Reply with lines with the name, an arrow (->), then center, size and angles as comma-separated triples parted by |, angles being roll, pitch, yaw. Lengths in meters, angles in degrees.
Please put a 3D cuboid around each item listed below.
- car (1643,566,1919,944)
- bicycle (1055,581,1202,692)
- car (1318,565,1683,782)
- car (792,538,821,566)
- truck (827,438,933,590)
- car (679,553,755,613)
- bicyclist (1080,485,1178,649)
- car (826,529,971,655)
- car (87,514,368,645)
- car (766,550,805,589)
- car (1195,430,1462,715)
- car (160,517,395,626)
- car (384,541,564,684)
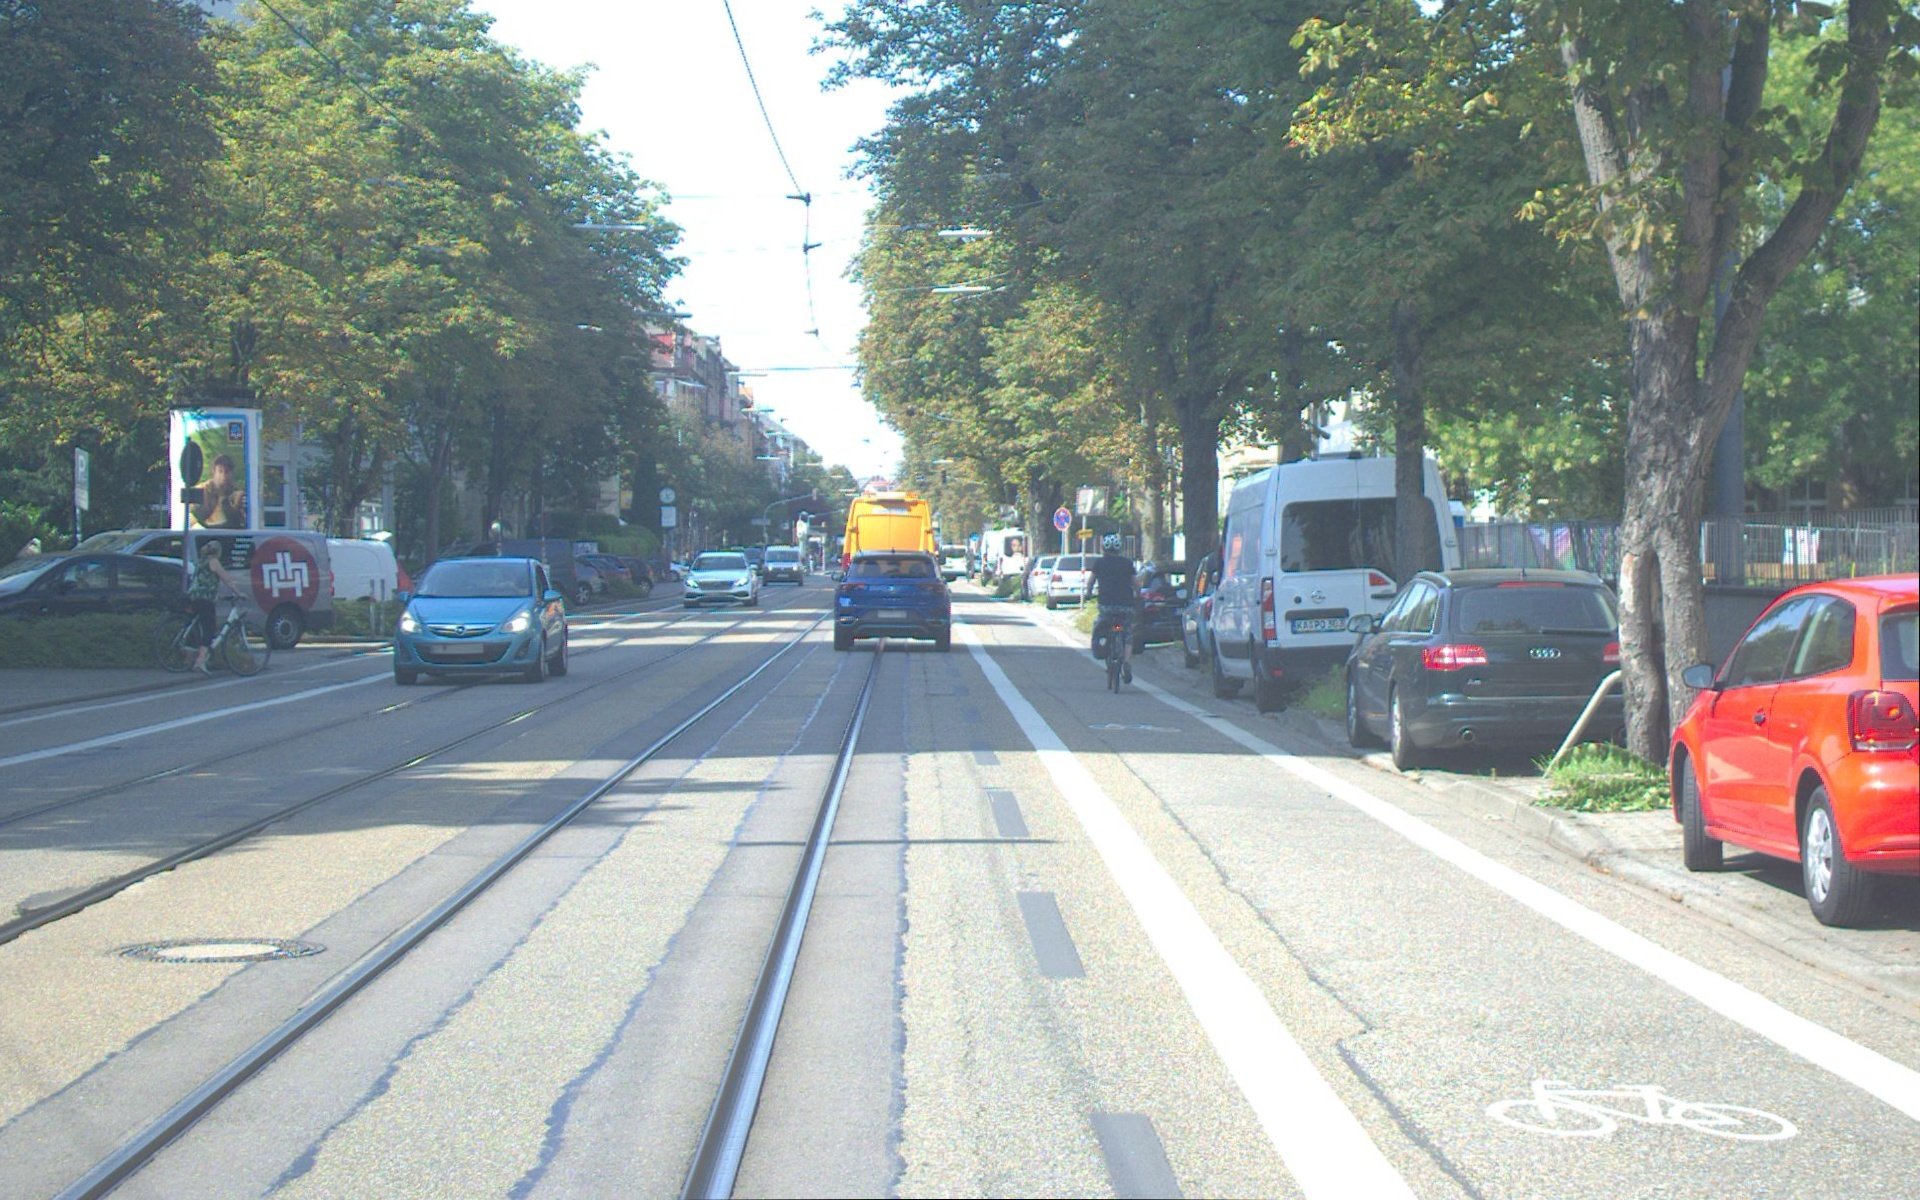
car -> 4.362, 0.600, 15.451 | 1.740, 1.457, 3.684 | 0, 1, -2
bicycle -> 1.853, 0.379, 38.681 | 1.401, 1.130, 4.000 | 0, 1, -1
car -> 3.910, 0.481, 25.589 | 1.908, 1.427, 4.293 | 0, 1, -2
car -> -9.756, -3.055, 218.857 | 1.747, 1.790, 4.000 | 0, 1, -2
truck -> -1.680, -1.822, 73.965 | 2.135, 3.113, 6.085 | -1, 1, -1
car -> -6.547, -0.470, 92.979 | 1.898, 1.556, 4.123 | 0, 1, -2
bicyclist -> 1.892, -0.375, 38.676 | 1.031, 1.806, 1.016 | 0, 1, -1
car -> -0.945, -0.176, 53.949 | 2.135, 1.852, 5.568 | -1, 1, -1
car -> -11.625, -0.335, 54.716 | 3.989, 2.007, 1.856 | 0, 1, -43
car -> -7.765, -1.363, 153.117 | 1.627, 1.699, 4.000 | 0, 1, -2
car -> 3.768, -0.317, 36.170 | 1.993, 2.746, 5.762 | 0, 1, -2
car -> -12.957, -0.548, 65.379 | 3.989, 2.007, 1.856 | 0, 1, -43
car -> -5.668, 0.100, 40.469 | 1.633, 1.579, 4.189 | 0, 1, -2
